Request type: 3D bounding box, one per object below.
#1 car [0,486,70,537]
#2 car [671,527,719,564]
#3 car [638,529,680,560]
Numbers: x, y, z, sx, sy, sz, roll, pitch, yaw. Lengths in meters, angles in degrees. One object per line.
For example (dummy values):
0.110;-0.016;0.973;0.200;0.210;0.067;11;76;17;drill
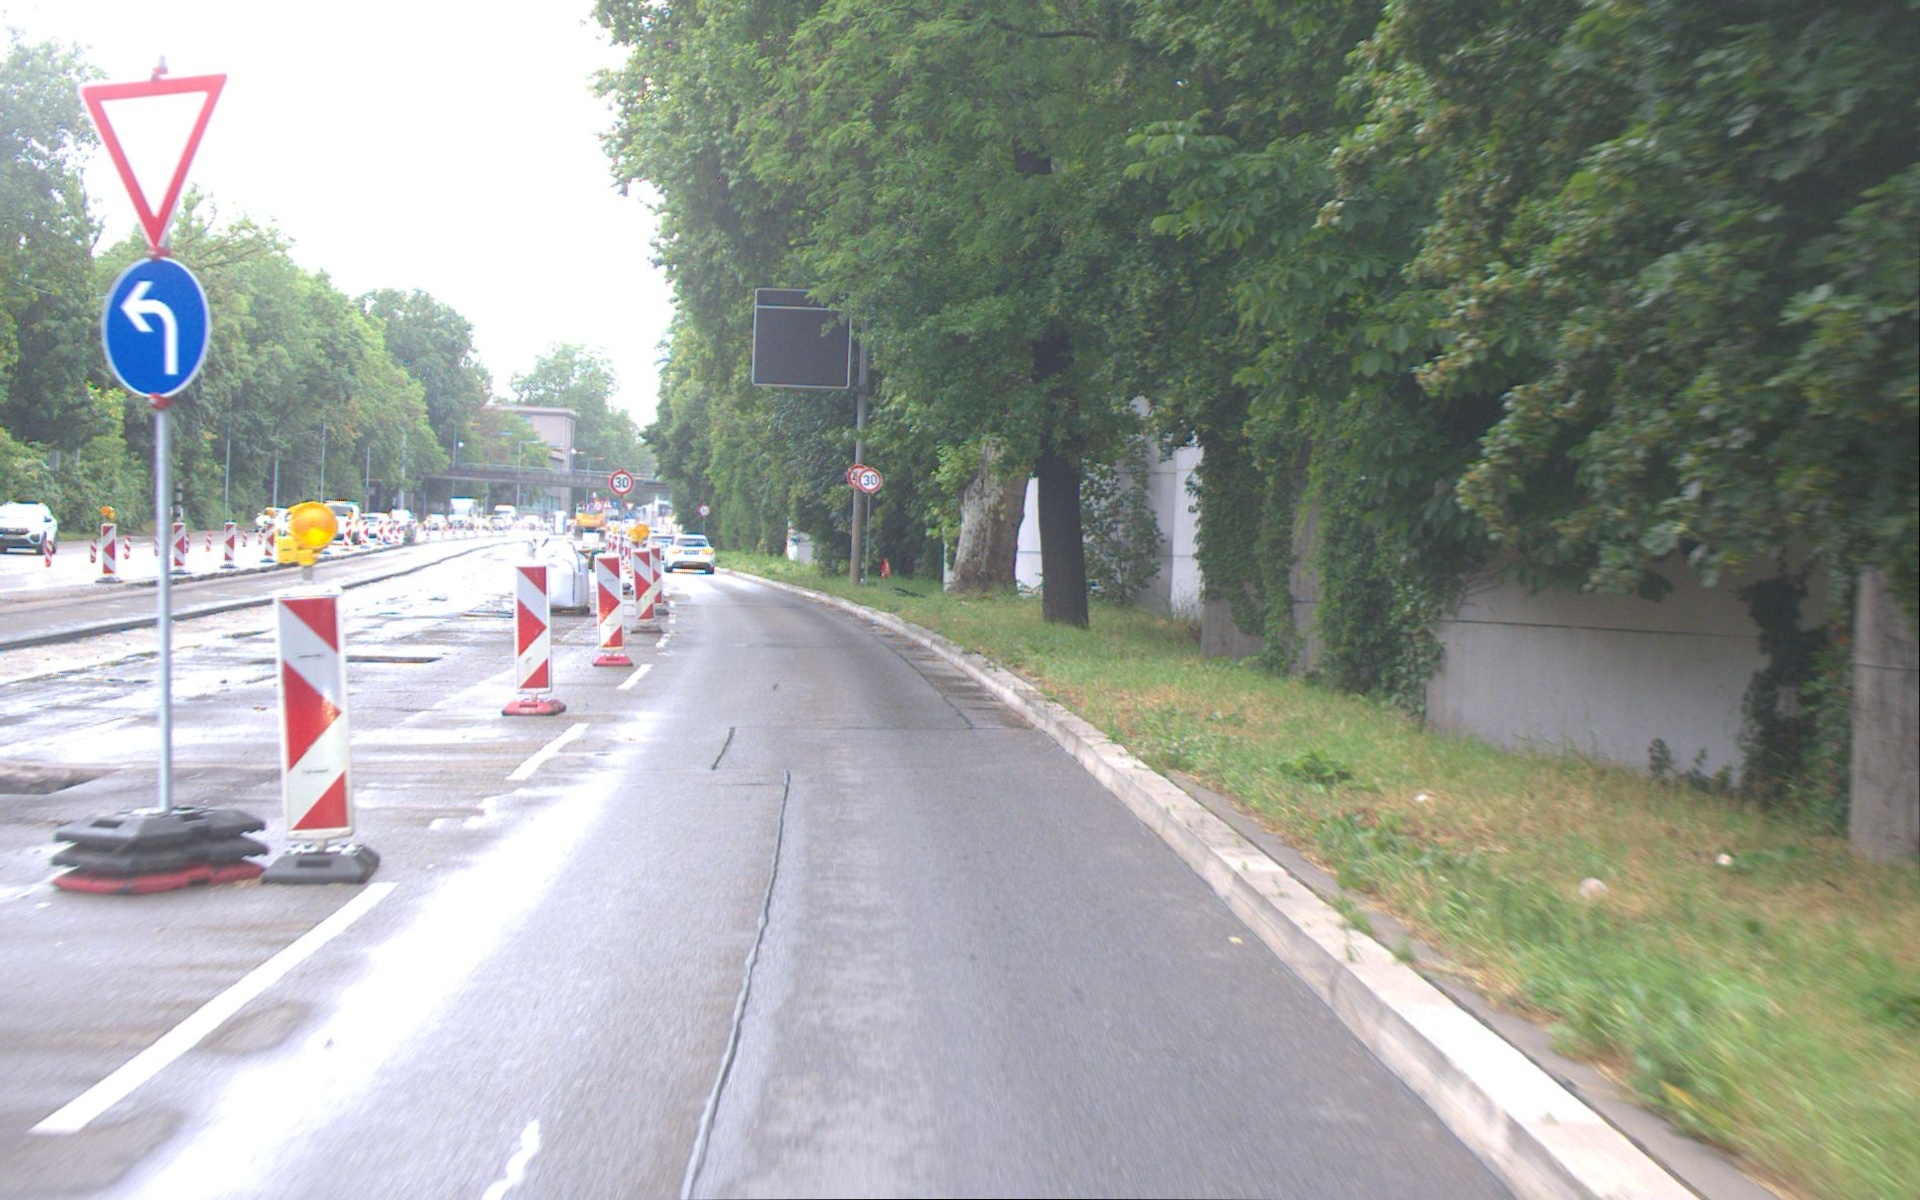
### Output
-28.791;-2.732;106.444;1.666;1.536;4.158;-1;2;-4;car
-10.012;-2.068;129.860;1.697;1.331;3.492;0;1;-6;car
-14.267;-2.631;163.120;1.854;1.428;3.732;1;1;-4;car
